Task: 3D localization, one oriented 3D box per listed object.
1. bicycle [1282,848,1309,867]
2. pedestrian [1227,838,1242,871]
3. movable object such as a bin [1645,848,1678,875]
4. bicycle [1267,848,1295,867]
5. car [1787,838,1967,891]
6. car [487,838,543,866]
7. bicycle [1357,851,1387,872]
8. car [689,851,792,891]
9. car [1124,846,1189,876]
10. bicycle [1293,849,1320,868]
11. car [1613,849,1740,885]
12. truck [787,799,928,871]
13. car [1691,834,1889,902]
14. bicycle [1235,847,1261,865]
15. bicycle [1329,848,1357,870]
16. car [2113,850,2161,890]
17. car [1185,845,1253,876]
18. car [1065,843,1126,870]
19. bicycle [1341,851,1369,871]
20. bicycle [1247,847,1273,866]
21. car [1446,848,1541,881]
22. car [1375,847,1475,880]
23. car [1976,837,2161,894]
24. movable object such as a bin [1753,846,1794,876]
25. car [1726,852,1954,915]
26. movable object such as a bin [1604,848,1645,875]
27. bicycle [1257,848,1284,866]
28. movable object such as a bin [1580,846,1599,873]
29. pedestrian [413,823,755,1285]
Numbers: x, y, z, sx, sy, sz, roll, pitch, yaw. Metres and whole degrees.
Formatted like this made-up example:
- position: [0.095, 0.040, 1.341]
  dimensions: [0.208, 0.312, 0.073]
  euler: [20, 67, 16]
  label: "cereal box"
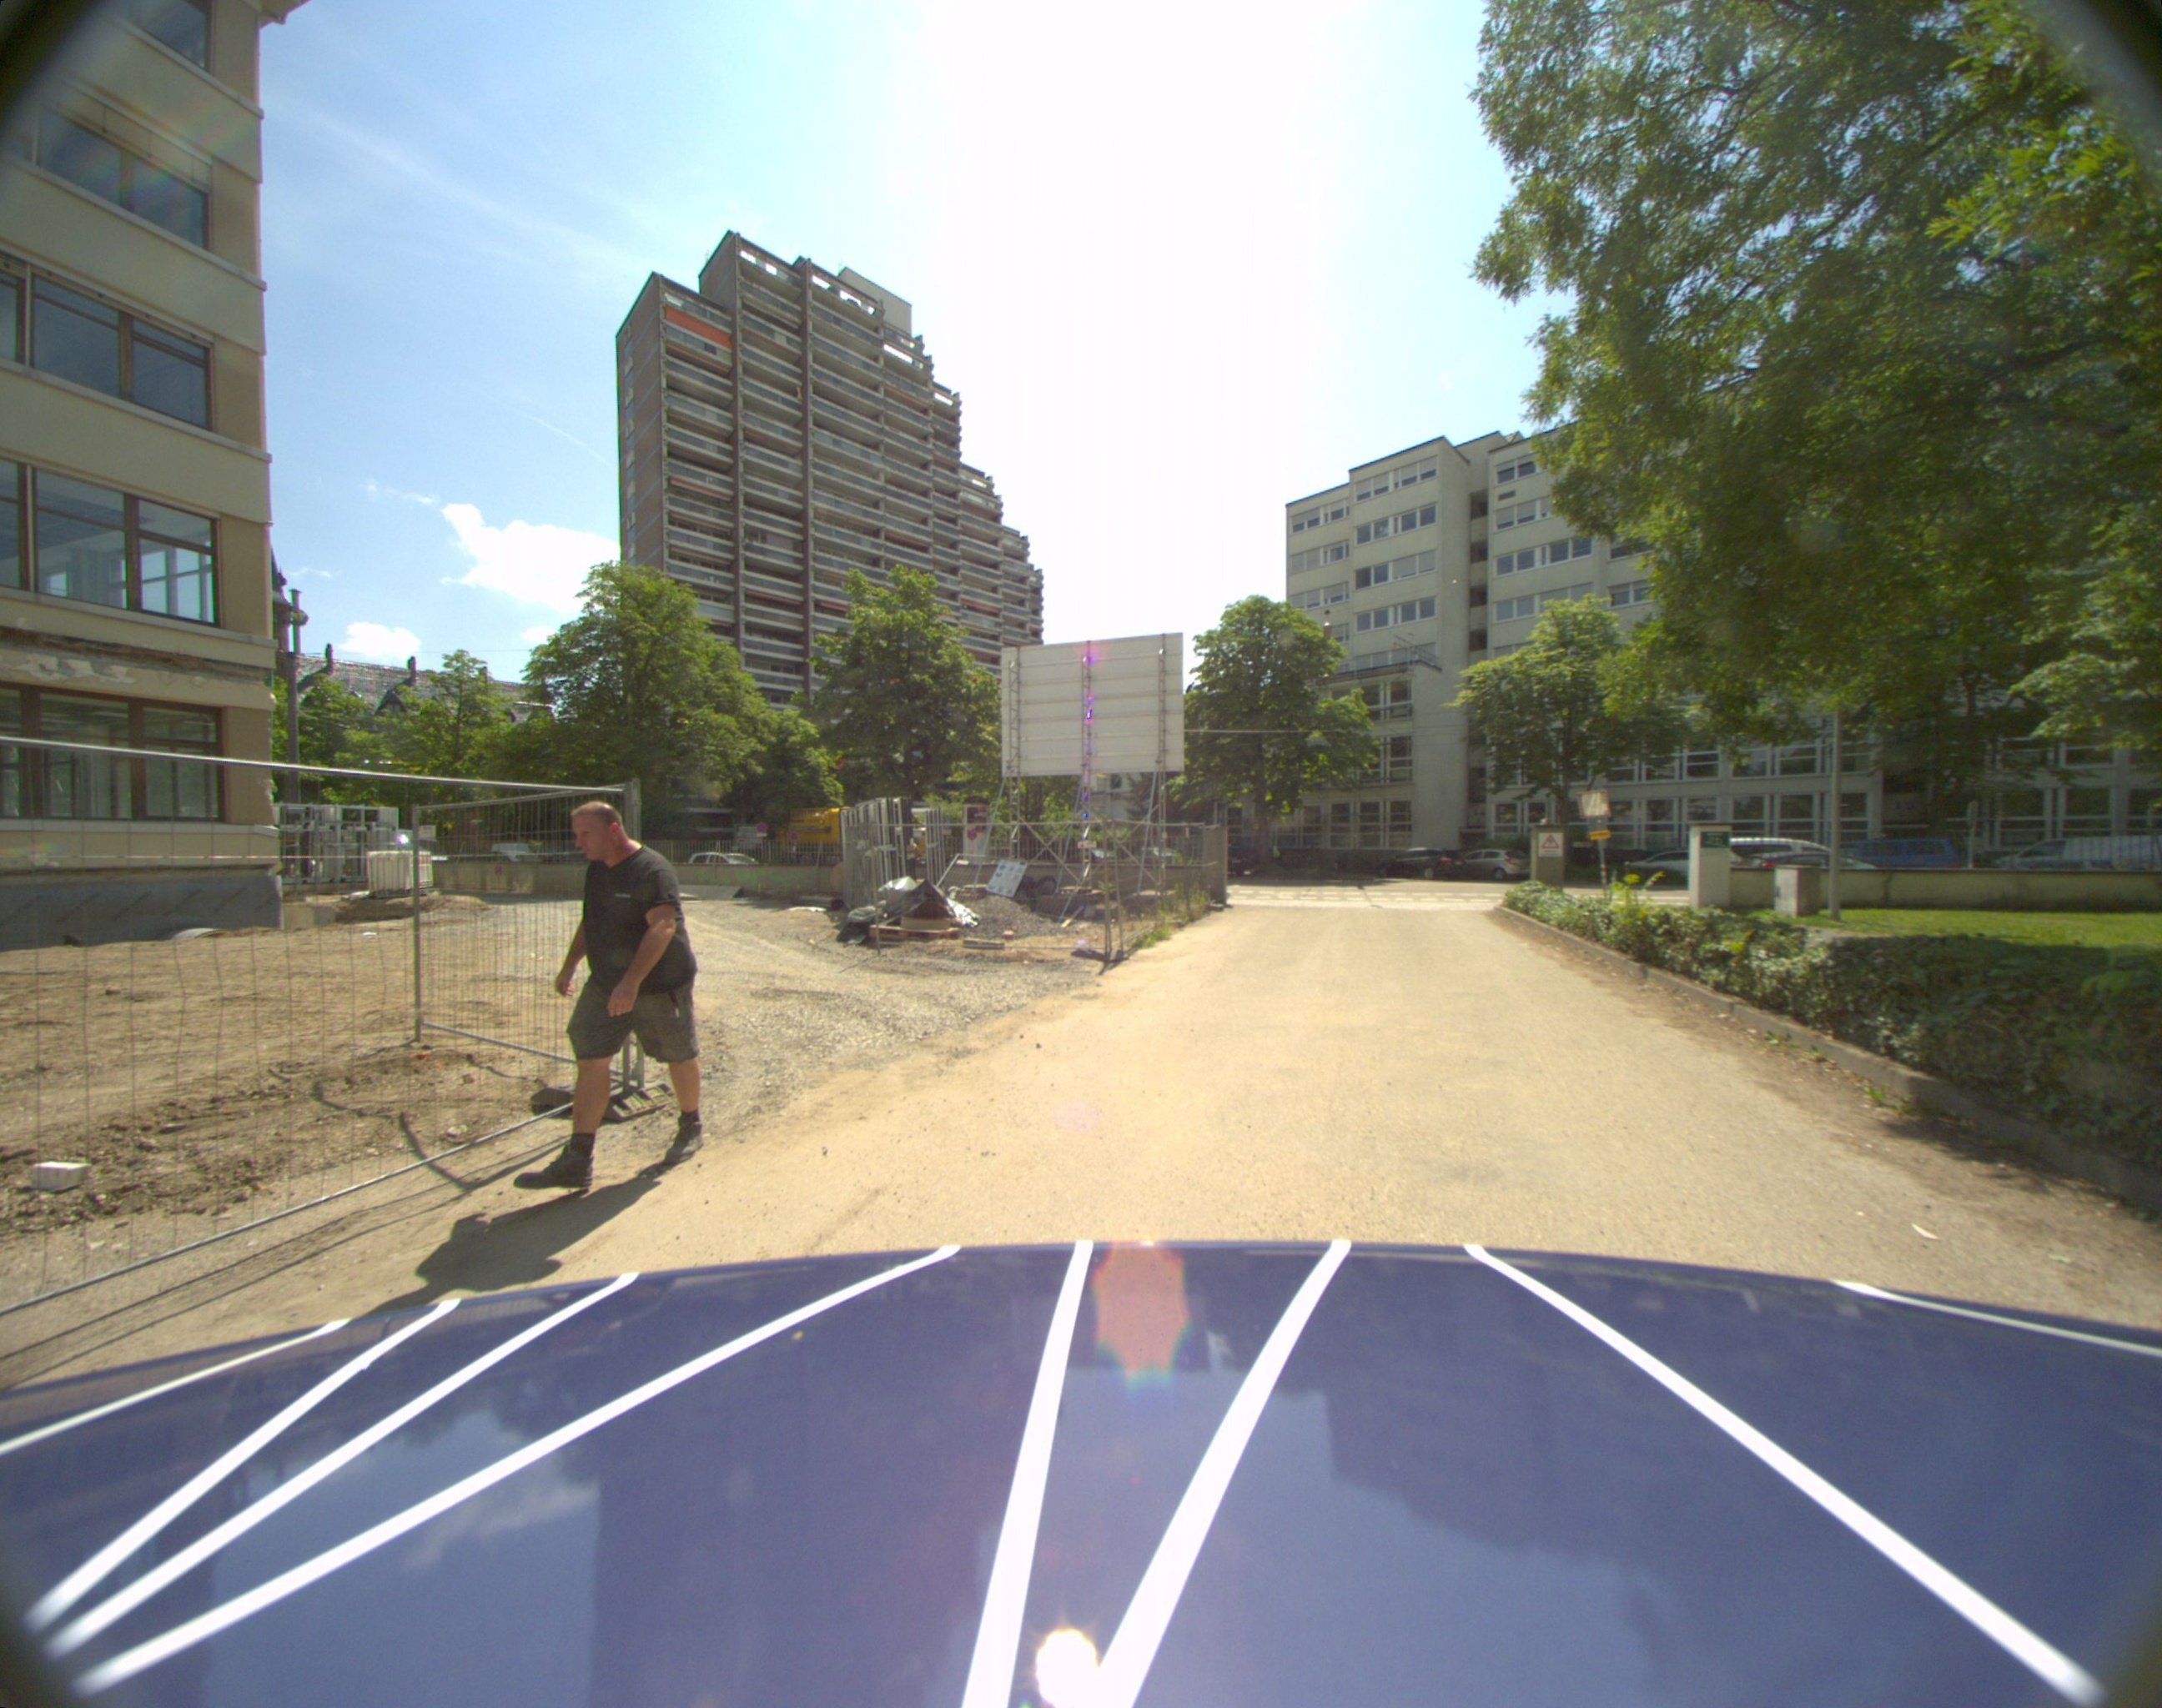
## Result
- position: [12.688, 0.200, 44.940]
  dimensions: [1.948, 1.124, 0.567]
  euler: [-1, 1, -40]
  label: "bicycle"
- position: [8.522, 0.023, 42.197]
  dimensions: [0.576, 1.864, 0.717]
  euler: [1, 1, 32]
  label: "pedestrian"
- position: [28.812, 0.352, 37.742]
  dimensions: [1.074, 1.323, 0.973]
  euler: [0, 1, 20]
  label: "movable object such as a bin"
- position: [12.023, 0.184, 45.668]
  dimensions: [1.948, 1.124, 0.567]
  euler: [-1, 1, -40]
  label: "bicycle"
- position: [32.078, 0.364, 30.805]
  dimensions: [2.003, 2.002, 4.620]
  euler: [0, 1, -27]
  label: "car"
- position: [-42.093, -0.188, 56.589]
  dimensions: [2.001, 2.002, 3.994]
  euler: [-1, 1, -16]
  label: "car"
- position: [16.175, 0.393, 42.223]
  dimensions: [2.239, 1.124, 0.567]
  euler: [-1, 1, -40]
  label: "bicycle"
- position: [-13.272, 0.630, 29.634]
  dimensions: [3.574, 1.431, 1.625]
  euler: [0, 1, 23]
  label: "car"
- position: [3.947, 0.330, 40.276]
  dimensions: [1.821, 1.454, 4.015]
  euler: [-1, 1, -21]
  label: "car"
- position: [13.158, 0.259, 44.307]
  dimensions: [1.948, 1.124, 0.567]
  euler: [-1, 1, -40]
  label: "bicycle"
- position: [25.810, 0.515, 33.055]
  dimensions: [1.717, 1.405, 3.972]
  euler: [0, 1, -28]
  label: "car"
- position: [-13.782, -1.117, 46.330]
  dimensions: [9.716, 3.983, 2.756]
  euler: [1, 2, 35]
  label: "truck"
- position: [20.901, 0.369, 22.587]
  dimensions: [3.991, 1.845, 1.520]
  euler: [0, 4, 17]
  label: "car"
- position: [10.409, 0.121, 47.289]
  dimensions: [1.932, 1.124, 0.567]
  euler: [-1, 1, -43]
  label: "bicycle"
- position: [14.956, 0.299, 43.328]
  dimensions: [1.948, 1.230, 0.567]
  euler: [-1, 1, -40]
  label: "bicycle"
- position: [41.279, 0.601, 27.699]
  dimensions: [1.672, 1.477, 3.994]
  euler: [0, 1, -15]
  label: "car"
- position: [7.079, 0.297, 39.268]
  dimensions: [1.652, 1.508, 3.567]
  euler: [-1, 1, -28]
  label: "car"
- position: [0.732, 0.109, 41.406]
  dimensions: [1.632, 1.365, 4.013]
  euler: [-1, 1, -28]
  label: "car"
- position: [15.333, 0.385, 42.521]
  dimensions: [1.948, 1.124, 0.567]
  euler: [-1, 1, -40]
  label: "bicycle"
- position: [11.022, 0.154, 46.806]
  dimensions: [1.932, 1.124, 0.567]
  euler: [-1, 1, -43]
  label: "bicycle"
- position: [19.294, 0.431, 35.668]
  dimensions: [1.757, 1.454, 3.532]
  euler: [0, 1, -28]
  label: "car"
- position: [16.436, 0.411, 36.495]
  dimensions: [1.757, 1.461, 4.187]
  euler: [0, 1, -28]
  label: "car"
- position: [37.971, 0.365, 28.925]
  dimensions: [2.002, 2.002, 4.622]
  euler: [0, 1, -19]
  label: "car"
- position: [33.025, 0.334, 36.248]
  dimensions: [1.178, 1.390, 1.040]
  euler: [0, 1, 27]
  label: "movable object such as a bin"
- position: [18.768, 0.702, 18.973]
  dimensions: [3.718, 1.448, 1.591]
  euler: [1, -1, 15]
  label: "car"
- position: [27.306, 0.346, 38.196]
  dimensions: [1.449, 1.323, 1.128]
  euler: [0, 0, 20]
  label: "movable object such as a bin"
- position: [11.515, 0.170, 46.215]
  dimensions: [1.931, 1.124, 0.567]
  euler: [-1, 1, -40]
  label: "bicycle"
- position: [26.658, 0.304, 39.846]
  dimensions: [0.801, 1.397, 0.769]
  euler: [1, 1, 33]
  label: "movable object such as a bin"
- position: [-2.223, 0.777, 3.529]
  dimensions: [0.869, 1.809, 0.968]
  euler: [0, 1, 14]
  label: "pedestrian"
